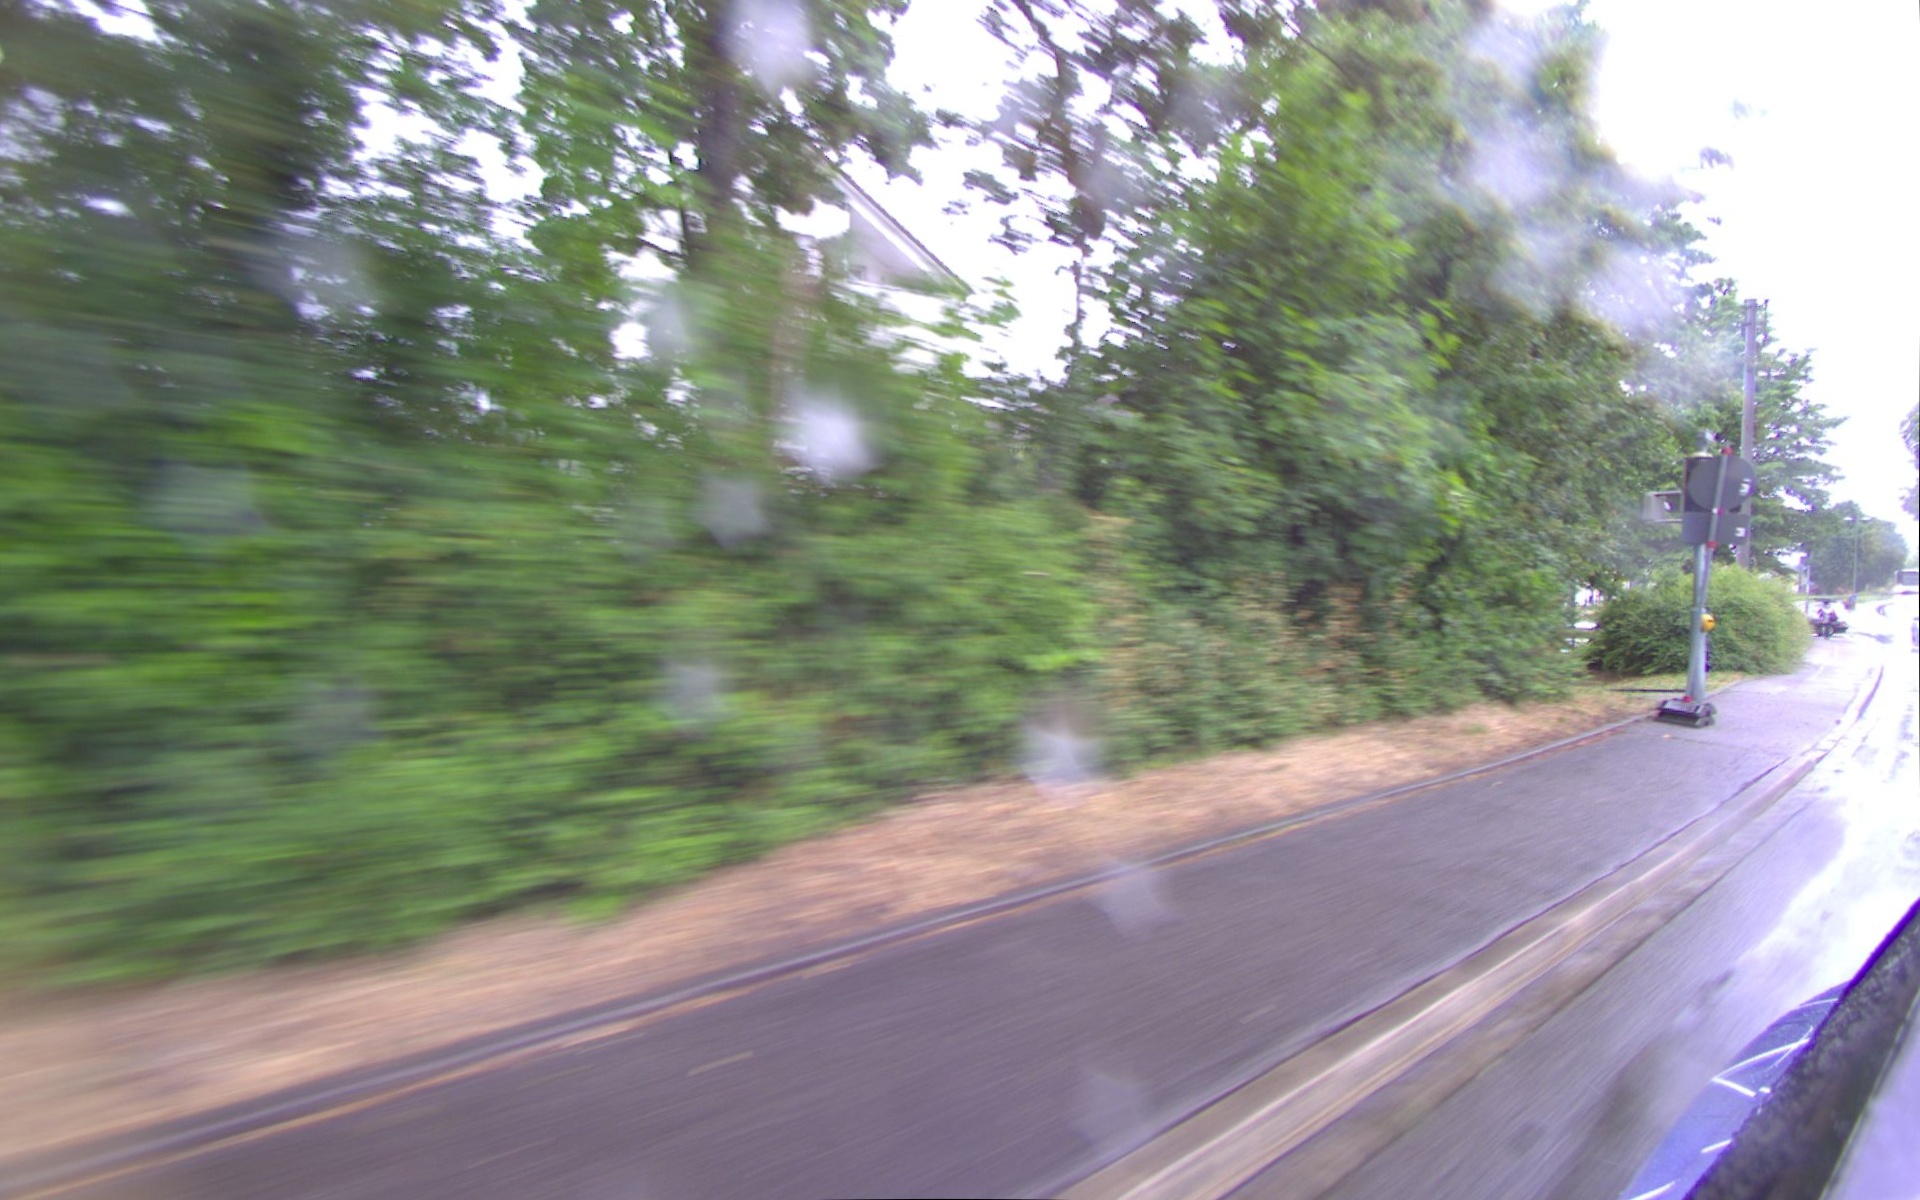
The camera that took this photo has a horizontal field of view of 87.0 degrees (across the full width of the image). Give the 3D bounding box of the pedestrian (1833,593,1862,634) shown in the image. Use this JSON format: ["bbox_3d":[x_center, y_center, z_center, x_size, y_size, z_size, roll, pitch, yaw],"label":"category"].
[{"bbox_3d":[35.037,0.526,39.944,0.768,1.545,0.859,3,1,43],"label":"pedestrian"}]

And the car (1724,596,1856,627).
[{"bbox_3d":[39.632,0.519,48.399,4.796,1.432,1.780,0,0,44],"label":"car"}]

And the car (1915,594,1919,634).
[{"bbox_3d":[37.374,0.554,37.824,1.788,1.571,3.952,0,0,34],"label":"car"}]

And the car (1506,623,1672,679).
[{"bbox_3d":[19.097,1.490,30.823,3.988,1.445,1.968,0,1,45],"label":"car"}]
